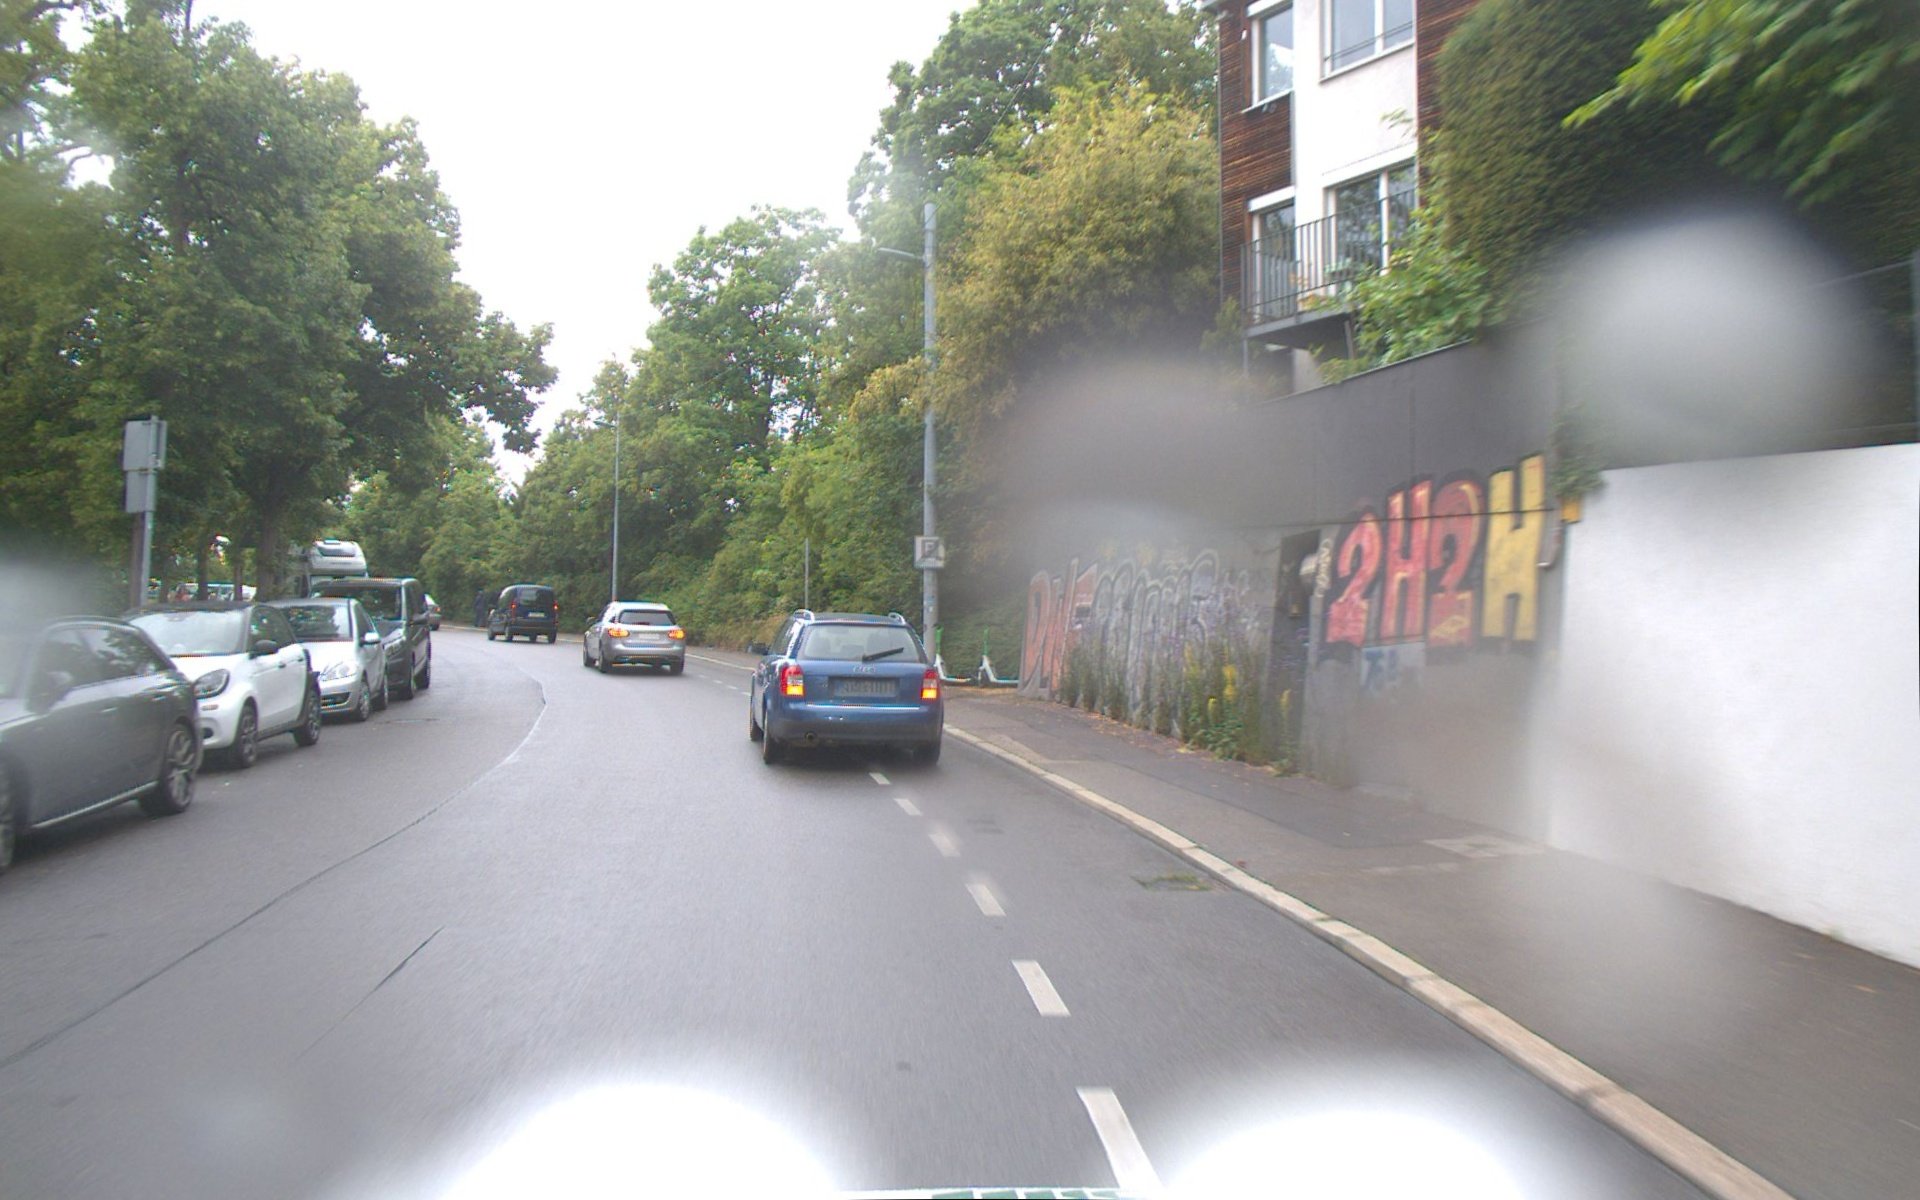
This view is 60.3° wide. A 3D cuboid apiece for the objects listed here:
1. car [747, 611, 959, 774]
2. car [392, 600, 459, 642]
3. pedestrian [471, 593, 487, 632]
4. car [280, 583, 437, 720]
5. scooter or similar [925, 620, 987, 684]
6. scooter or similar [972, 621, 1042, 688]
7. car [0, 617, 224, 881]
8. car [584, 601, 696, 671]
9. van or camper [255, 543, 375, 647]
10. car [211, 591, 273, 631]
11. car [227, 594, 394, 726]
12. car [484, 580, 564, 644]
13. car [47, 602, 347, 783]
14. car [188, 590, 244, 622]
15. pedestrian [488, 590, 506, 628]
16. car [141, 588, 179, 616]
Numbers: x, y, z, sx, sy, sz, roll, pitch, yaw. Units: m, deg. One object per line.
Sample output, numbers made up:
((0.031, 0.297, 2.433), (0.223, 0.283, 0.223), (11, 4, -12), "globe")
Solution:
((-1.212, 0.856, 16.952), (1.715, 1.432, 3.990), (2, -1, -10), "car")
((-21.476, 0.829, 66.350), (1.803, 1.645, 3.746), (1, 0, -30), "car")
((-20.123, 0.518, 69.236), (0.545, 1.594, 0.482), (1, 0, -27), "pedestrian")
((-10.051, 0.764, 27.989), (1.921, 2.002, 4.983), (-2, 1, -14), "car")
((-0.086, 0.944, 30.229), (0.343, 1.137, 1.404), (3, -1, -36), "scooter or similar")
((0.819, 0.949, 29.093), (0.344, 1.137, 1.401), (3, -2, -41), "scooter or similar")
((-6.168, 0.849, 10.235), (1.651, 1.404, 4.494), (-2, 0, -7), "car")
((-7.010, 0.756, 35.984), (1.862, 1.413, 3.978), (2, -1, -19), "car")
((-20.878, -0.188, 53.336), (2.481, 3.079, 6.492), (-3, 2, -31), "van or camper")
((-28.971, 0.425, 66.636), (1.971, 1.429, 4.671), (0, 1, -28), "car")
((-8.782, 0.772, 22.620), (1.656, 1.579, 3.751), (-2, 0, -15), "car")
((-14.495, 0.396, 54.860), (1.767, 1.987, 3.966), (-2, 0, -26), "car")
((-7.581, 0.835, 16.862), (1.653, 1.536, 4.196), (-2, 0, -9), "car")
((-34.125, 0.262, 75.798), (1.972, 1.430, 4.667), (0, 0, -29), "car")
((-19.501, 0.386, 69.683), (0.588, 1.594, 0.663), (2, -1, -27), "pedestrian")
((-47.488, 0.109, 98.154), (1.671, 1.462, 4.213), (-4, 2, -30), "car")
